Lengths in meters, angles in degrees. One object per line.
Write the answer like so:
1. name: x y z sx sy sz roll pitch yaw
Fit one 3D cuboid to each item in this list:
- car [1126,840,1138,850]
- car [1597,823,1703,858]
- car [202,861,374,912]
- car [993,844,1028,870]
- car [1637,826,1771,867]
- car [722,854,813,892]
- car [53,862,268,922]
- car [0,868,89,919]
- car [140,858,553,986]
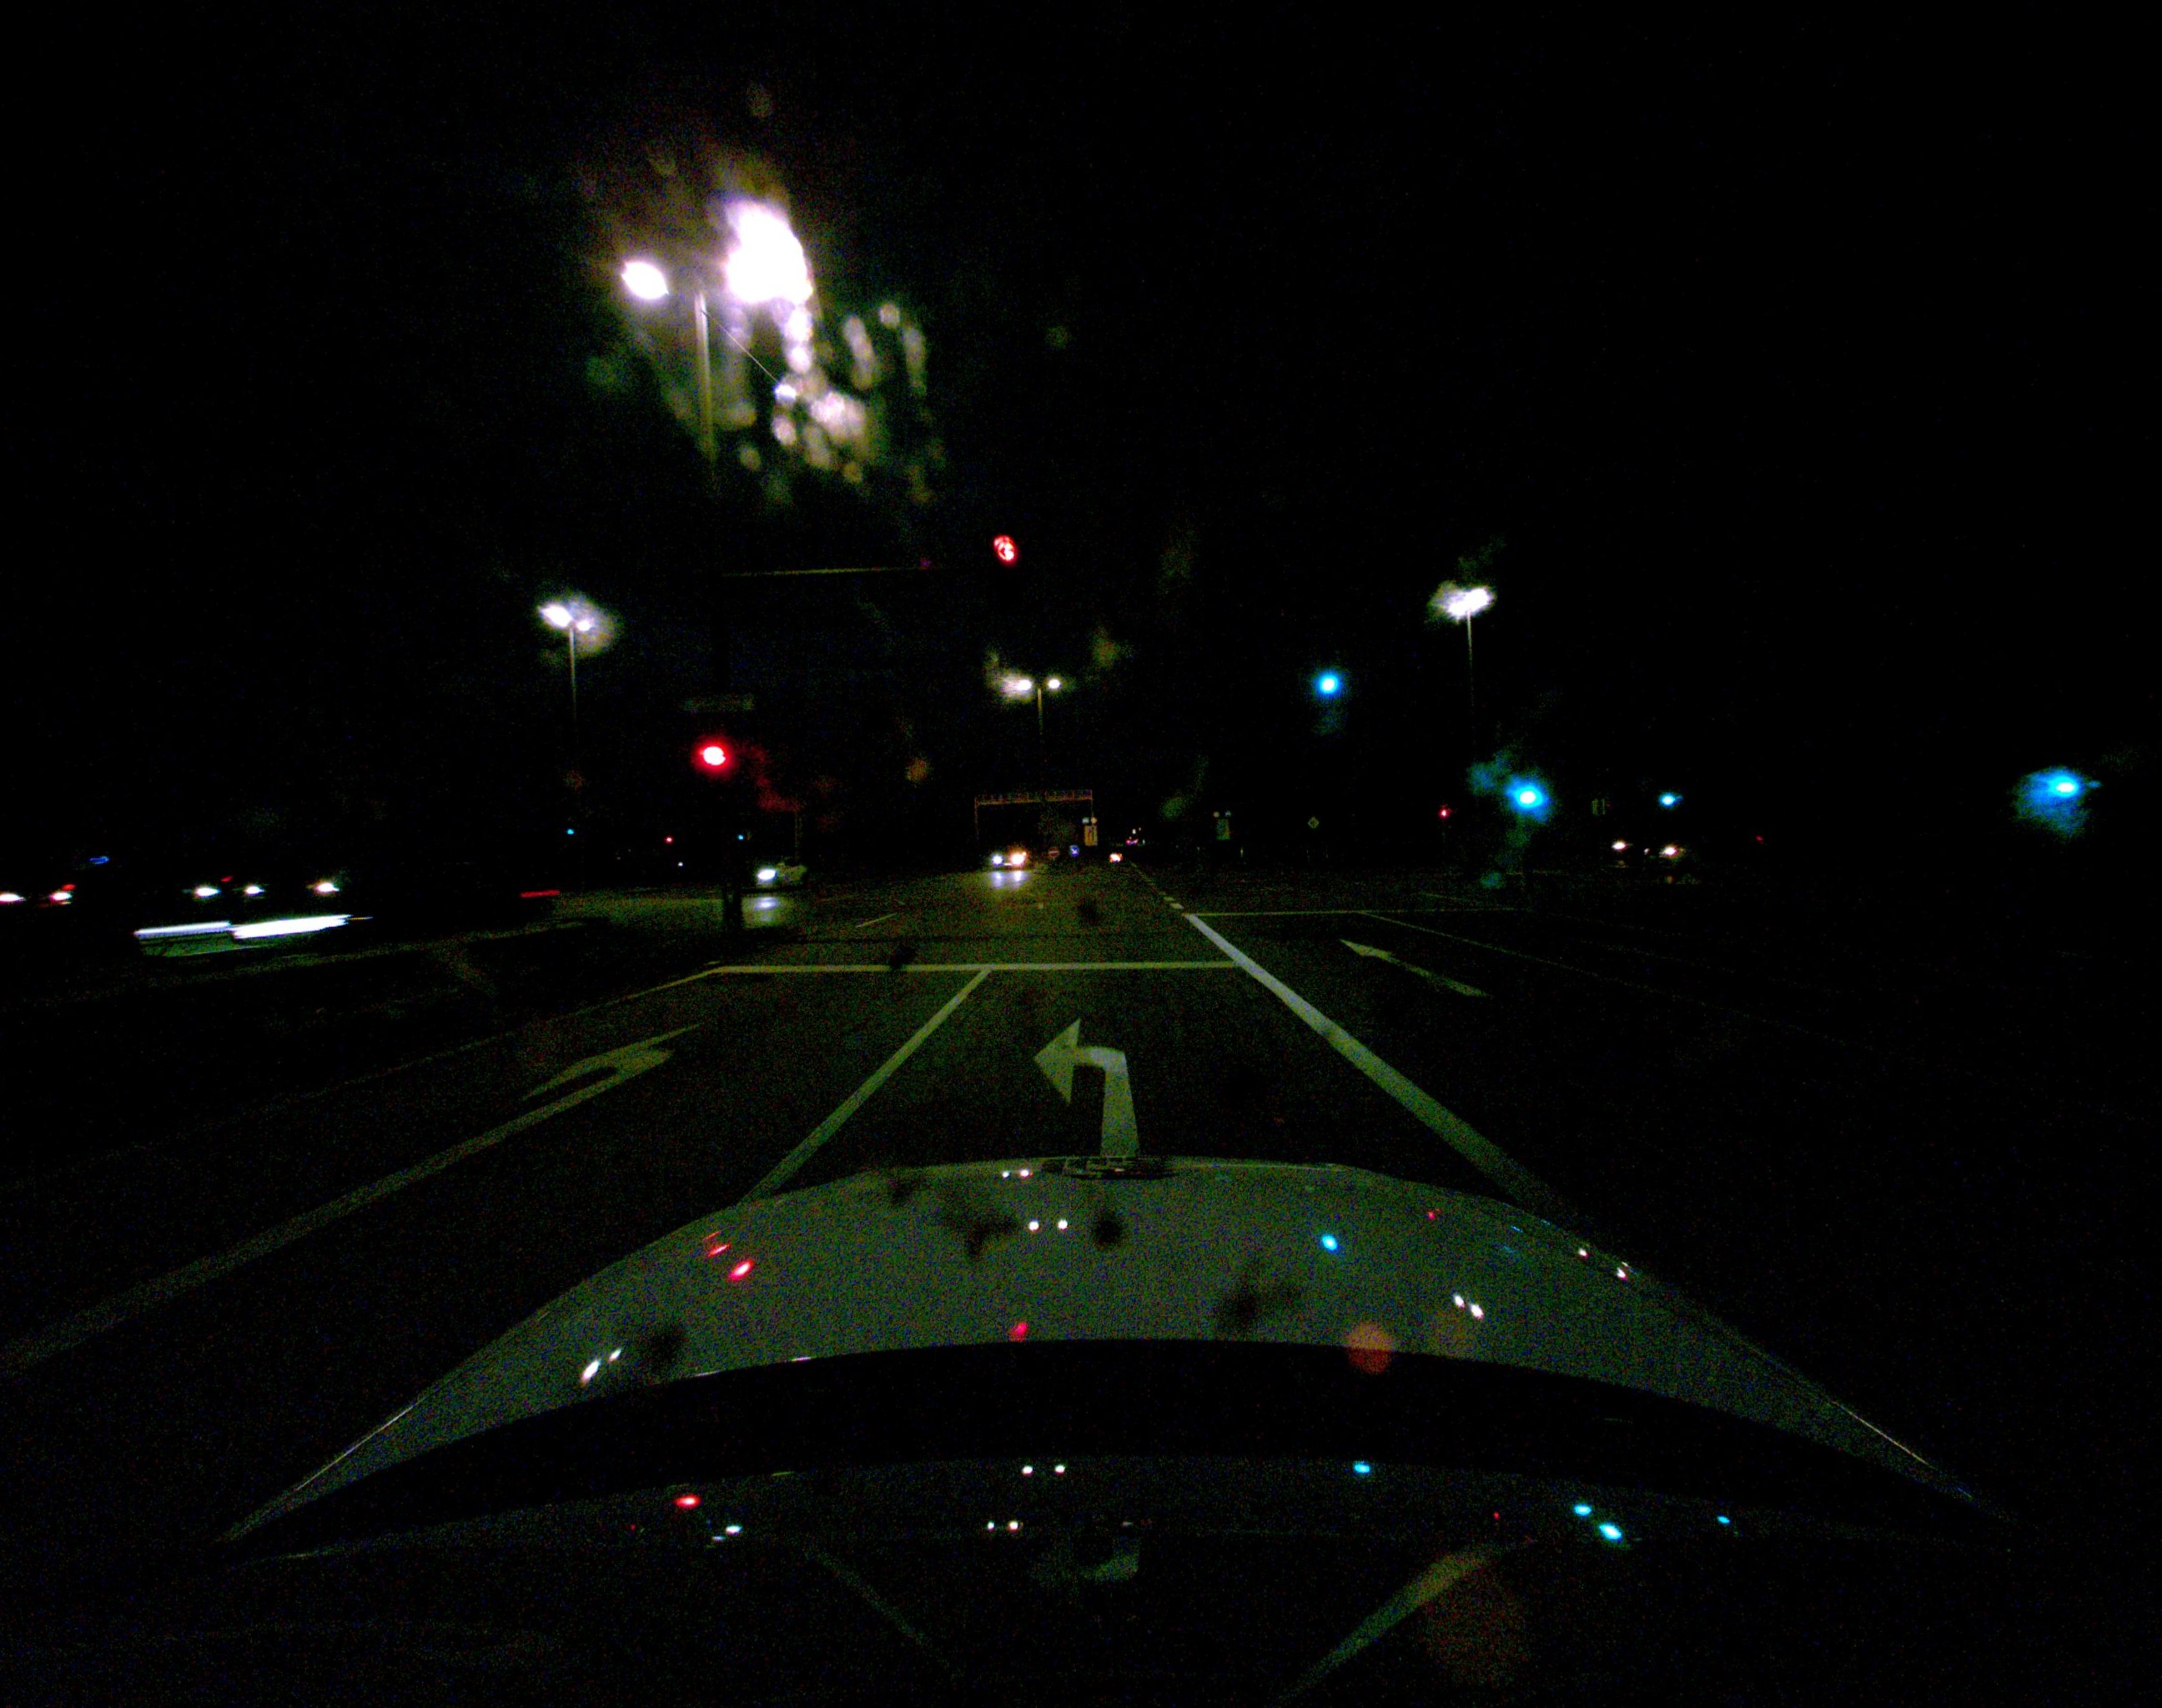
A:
1. car: 8.905 -1.556 141.466 1.998 1.611 3.850 -2 1 4
2. car: 28.126 -0.685 40.340 3.976 1.569 1.900 -2 1 -2
3. car: -26.853 1.079 27.680 4.029 1.537 1.728 -2 0 -2
4. car: -4.853 0.156 56.833 1.987 1.698 4.001 -1 1 1
5. car: 25.652 -0.319 33.634 4.062 1.569 2.001 -2 1 -2
6. car: -13.156 0.770 34.514 1.986 1.425 4.533 -1 0 1
7. car: -27.068 1.086 24.045 4.299 1.537 1.729 -2 0 0
8. car: -33.203 1.234 24.621 3.980 1.473 1.727 -2 0 -5
9. car: -10.678 0.859 12.494 1.986 1.482 4.683 -1 0 1
